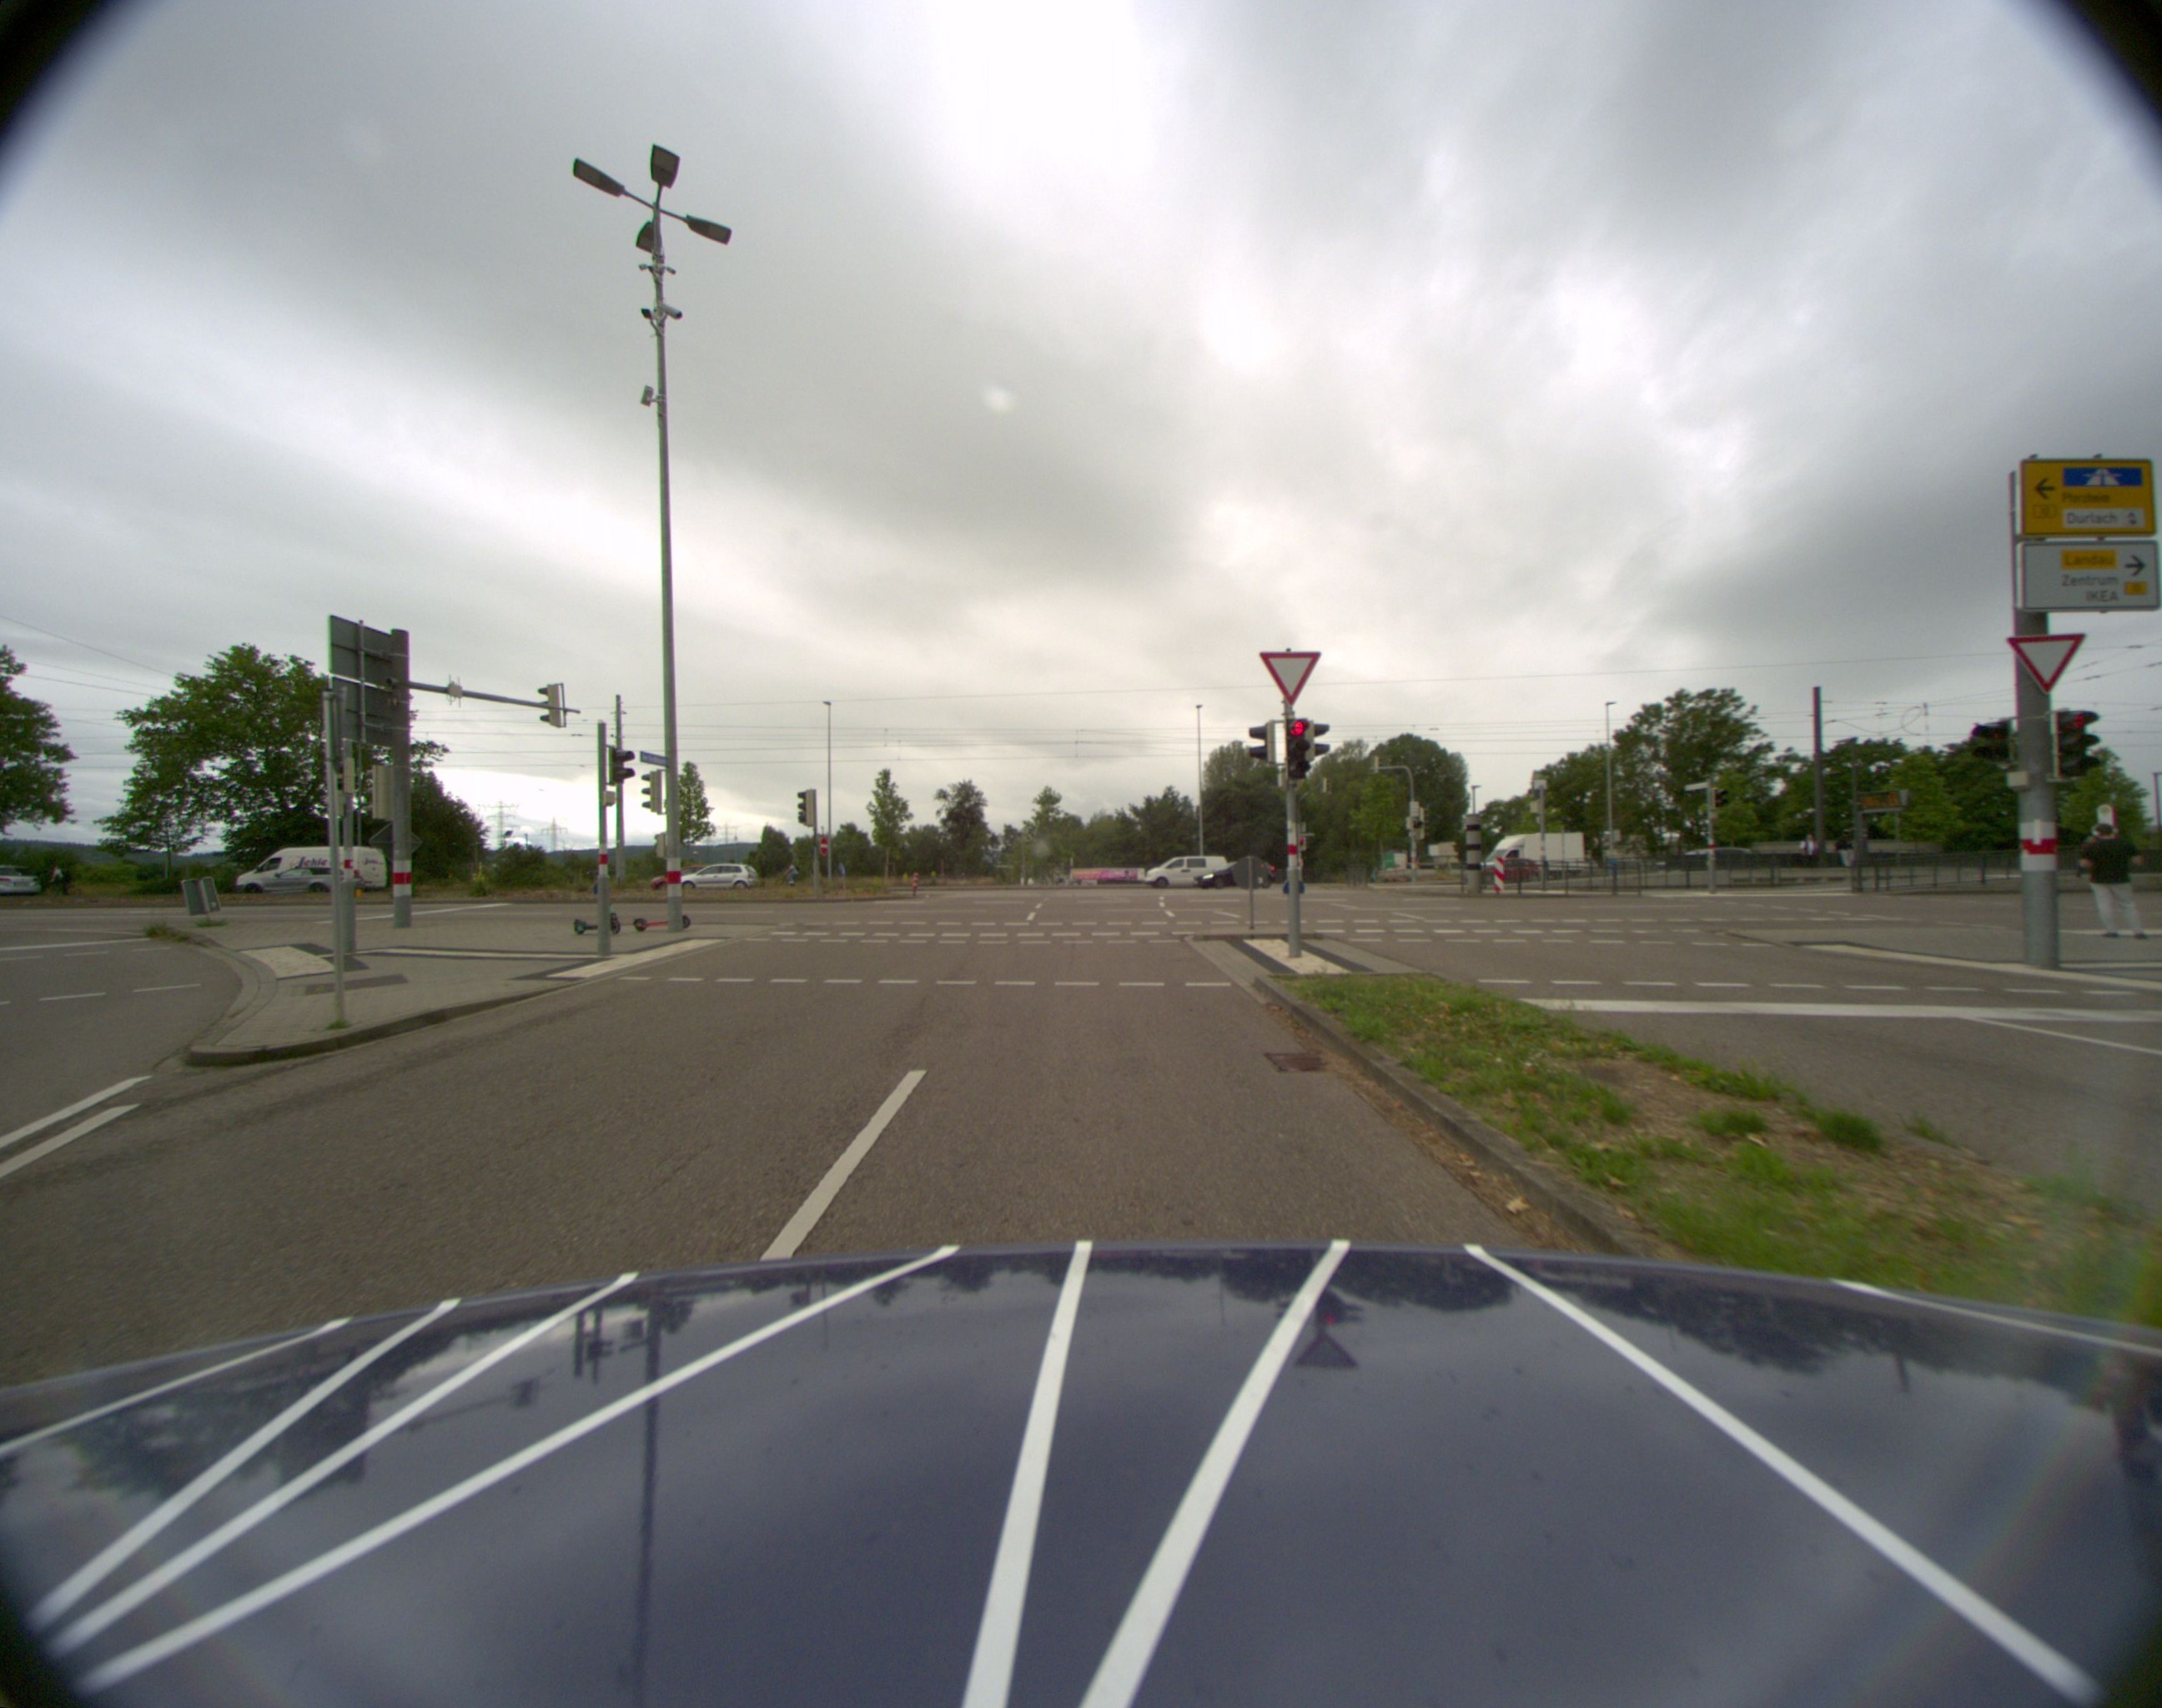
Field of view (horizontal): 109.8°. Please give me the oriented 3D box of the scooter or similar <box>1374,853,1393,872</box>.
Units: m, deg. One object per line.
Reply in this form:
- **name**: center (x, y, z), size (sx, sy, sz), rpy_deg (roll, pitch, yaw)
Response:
- **scooter or similar**: center (20.729, 0.587, 52.079), size (1.154, 1.236, 0.391), rpy_deg (-1, 1, 1)

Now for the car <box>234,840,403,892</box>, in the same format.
- **car**: center (-40.016, 0.640, 40.055), size (5.898, 2.609, 2.664), rpy_deg (-1, -2, -7)

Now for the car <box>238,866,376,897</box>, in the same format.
- **car**: center (-36.451, 1.287, 35.879), size (4.343, 1.382, 1.876), rpy_deg (0, -2, -6)

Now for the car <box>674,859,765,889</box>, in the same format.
- **car**: center (-18.275, 1.019, 38.540), size (3.850, 1.410, 1.682), rpy_deg (-1, -2, -10)

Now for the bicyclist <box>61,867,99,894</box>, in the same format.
- **bicyclist**: center (-55.466, 1.452, 42.111), size (0.999, 1.470, 0.819), rpy_deg (0, 1, -2)

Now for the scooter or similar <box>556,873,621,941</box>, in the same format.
- **scooter or similar**: center (-9.341, 0.999, 14.405), size (1.113, 1.249, 0.321), rpy_deg (0, 3, 14)

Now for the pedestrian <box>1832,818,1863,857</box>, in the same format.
- **pedestrian**: center (35.554, -0.743, 35.260), size (0.586, 1.731, 0.788), rpy_deg (-2, -1, 3)

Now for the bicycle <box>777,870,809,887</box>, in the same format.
- **bicycle**: center (-17.688, 1.492, 46.690), size (1.709, 1.040, 0.548), rpy_deg (0, 2, -9)

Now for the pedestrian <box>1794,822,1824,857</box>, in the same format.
- **pedestrian**: center (33.478, -0.656, 34.954), size (0.632, 1.550, 0.711), rpy_deg (-2, -1, 2)

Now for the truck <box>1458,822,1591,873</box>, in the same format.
- **truck**: center (27.382, -0.368, 47.076), size (6.540, 2.905, 2.829), rpy_deg (-1, -2, -1)

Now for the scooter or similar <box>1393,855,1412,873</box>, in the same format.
- **scooter or similar**: center (21.950, 0.682, 51.833), size (1.046, 1.208, 0.375), rpy_deg (-4, 1, 6)

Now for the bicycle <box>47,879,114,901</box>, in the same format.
- **bicycle**: center (-55.474, 1.988, 42.154), size (2.521, 1.178, 0.819), rpy_deg (0, 1, -2)

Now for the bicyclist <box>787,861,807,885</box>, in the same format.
- **bicyclist**: center (-17.437, 1.166, 46.670), size (0.968, 1.445, 0.691), rpy_deg (0, 2, -9)

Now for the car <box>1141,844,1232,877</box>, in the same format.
- **car**: center (6.389, 0.430, 46.354), size (5.118, 1.868, 2.100), rpy_deg (-1, -2, -5)

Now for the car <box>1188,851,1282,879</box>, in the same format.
- **car**: center (7.966, 0.583, 39.502), size (4.345, 1.382, 1.998), rpy_deg (-1, -2, -12)

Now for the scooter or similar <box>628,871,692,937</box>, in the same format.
- **scooter or similar**: center (-8.200, 0.959, 14.815), size (1.016, 1.249, 0.465), rpy_deg (0, 2, 14)

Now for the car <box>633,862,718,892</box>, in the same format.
- **car**: center (-22.114, 1.278, 41.522), size (3.772, 1.551, 1.655), rpy_deg (-1, -2, -12)

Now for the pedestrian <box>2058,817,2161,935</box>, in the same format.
- **pedestrian**: center (16.170, 0.323, 11.879), size (0.664, 1.756, 0.687), rpy_deg (2, 5, 5)

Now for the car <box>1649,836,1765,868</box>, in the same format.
- **car**: center (31.052, -0.092, 37.769), size (4.369, 1.400, 1.678), rpy_deg (-2, -2, 0)

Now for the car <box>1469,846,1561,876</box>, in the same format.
- **car**: center (24.916, 0.413, 43.724), size (4.245, 1.641, 1.785), rpy_deg (-1, -2, 0)

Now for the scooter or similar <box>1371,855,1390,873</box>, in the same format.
- **scooter or similar**: center (20.350, 0.684, 51.639), size (1.153, 1.236, 0.478), rpy_deg (-1, 1, 6)

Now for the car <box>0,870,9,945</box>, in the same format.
- **car**: center (-23.219, 1.091, 14.418), size (4.200, 1.455, 1.839), rpy_deg (-1, 1, 13)

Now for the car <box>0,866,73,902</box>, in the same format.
- **car**: center (-48.395, 1.373, 33.865), size (4.199, 1.542, 1.861), rpy_deg (-1, -1, -4)
